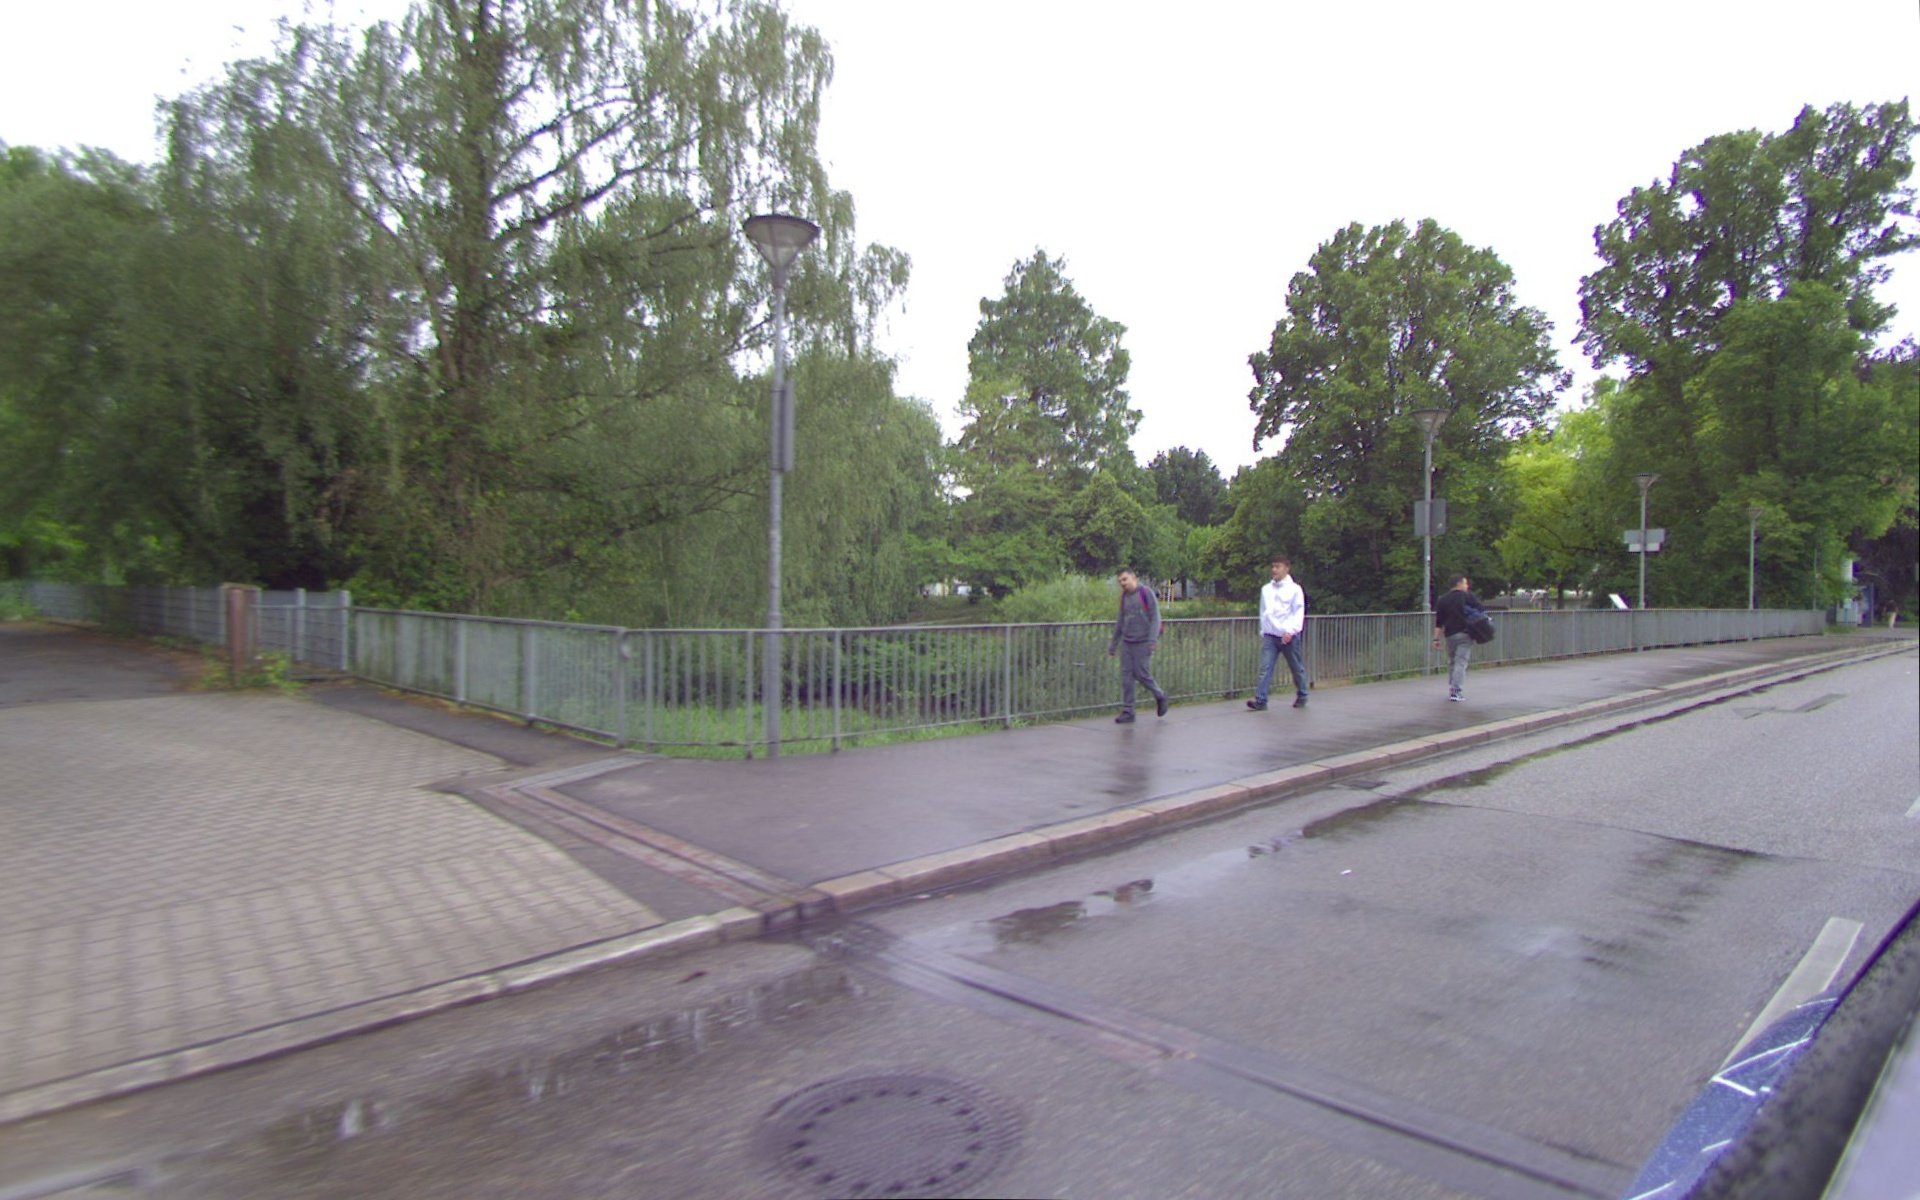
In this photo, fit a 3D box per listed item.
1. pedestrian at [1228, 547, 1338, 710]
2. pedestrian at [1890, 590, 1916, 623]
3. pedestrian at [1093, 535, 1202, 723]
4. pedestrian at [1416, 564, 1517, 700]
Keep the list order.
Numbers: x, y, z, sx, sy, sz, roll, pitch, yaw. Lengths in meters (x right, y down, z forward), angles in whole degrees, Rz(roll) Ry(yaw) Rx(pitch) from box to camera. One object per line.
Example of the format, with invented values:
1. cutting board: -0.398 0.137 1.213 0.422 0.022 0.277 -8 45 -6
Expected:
1. pedestrian: 3.723 0.294 11.648 1.042 1.774 0.781 0 1 -42
2. pedestrian: 49.439 0.333 53.043 1.148 1.696 0.849 0 3 -42
3. pedestrian: 1.928 0.273 10.406 0.768 1.831 0.762 1 1 -41
4. pedestrian: 6.428 0.371 12.847 0.825 1.639 0.864 0 2 -41
